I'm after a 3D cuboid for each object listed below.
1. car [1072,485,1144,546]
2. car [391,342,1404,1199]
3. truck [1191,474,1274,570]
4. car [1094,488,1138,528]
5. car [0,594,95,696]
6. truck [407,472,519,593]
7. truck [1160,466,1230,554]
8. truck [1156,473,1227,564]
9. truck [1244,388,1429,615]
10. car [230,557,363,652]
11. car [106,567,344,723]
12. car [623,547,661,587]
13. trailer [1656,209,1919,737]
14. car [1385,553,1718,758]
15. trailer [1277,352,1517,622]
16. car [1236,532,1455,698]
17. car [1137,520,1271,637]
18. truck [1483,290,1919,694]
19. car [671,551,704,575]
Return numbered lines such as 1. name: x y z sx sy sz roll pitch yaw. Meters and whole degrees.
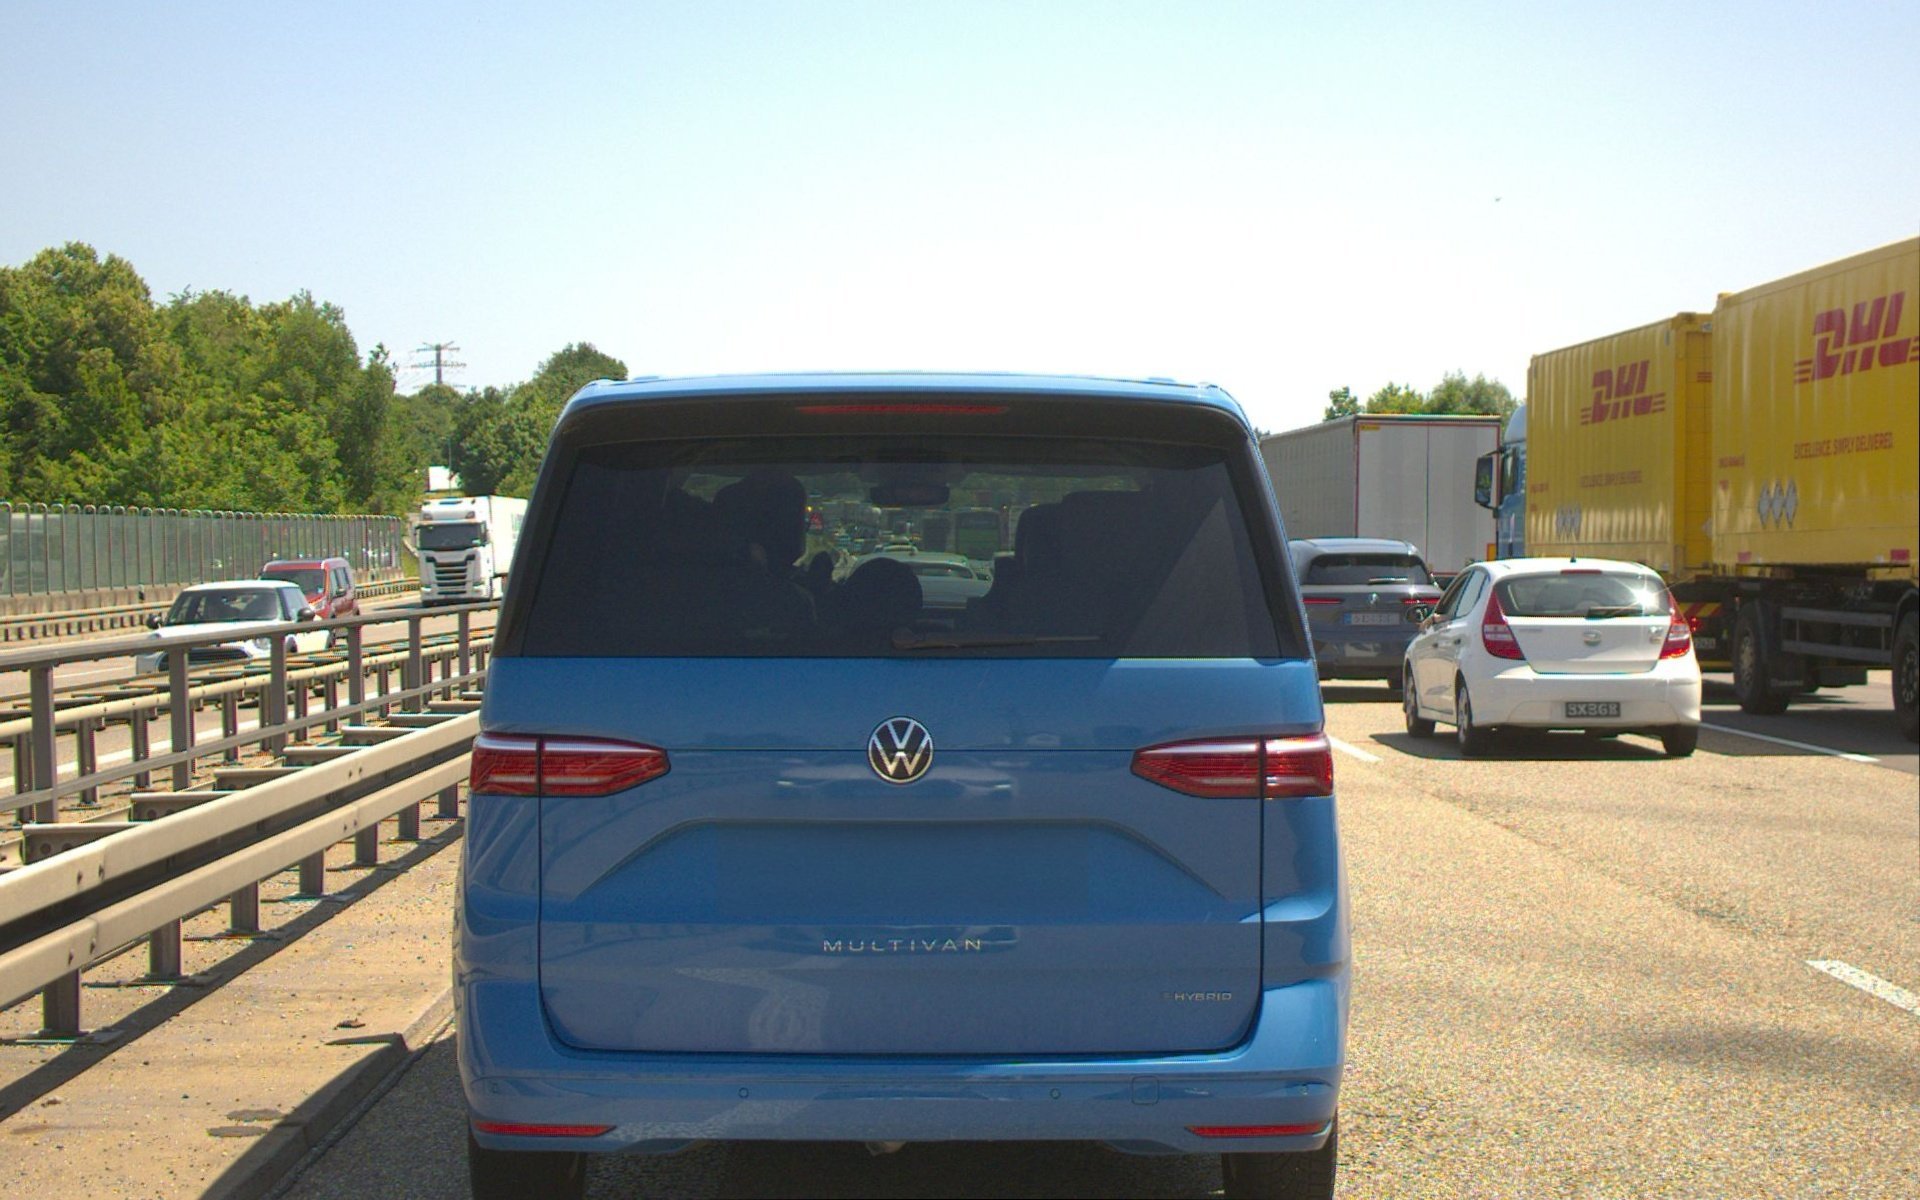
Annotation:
1. car: 4.403 -2.515 102.858 1.919 1.700 4.000 1 0 -1
2. car: -0.141 0.440 8.637 1.930 1.867 4.000 1 0 -1
3. truck: 7.217 -2.034 91.333 1.798 2.441 4.504 1 0 0
4. car: 7.081 -4.175 156.440 1.797 1.745 3.943 1 0 0
5. car: -14.622 0.684 52.241 1.871 1.437 4.386 -2 1 -1
6. truck: -18.503 -2.471 128.362 2.929 4.279 6.858 -3 0 0
7. truck: 7.204 -2.725 105.493 1.797 2.587 4.305 1 0 0
8. truck: 6.707 -2.343 99.976 1.742 2.540 4.210 1 0 0
9. truck: 8.016 -2.027 74.100 3.026 4.595 7.921 1 0 0
10. car: -13.369 0.086 69.543 1.839 1.816 4.748 -1 0 -1
11. car: -8.348 0.475 39.363 1.871 1.524 3.609 -6 1 -1
12. car: -21.222 -2.196 229.310 1.993 2.573 6.651 -2 0 -2
13. trailer: 8.599 -0.988 30.558 2.682 4.074 8.981 1 0 -2
14. car: 4.534 0.393 26.905 1.815 1.465 3.932 1 0 -1
15. trailer: 8.036 -1.972 64.671 3.026 4.595 10.925 1 0 0
16. car: 4.093 0.142 37.050 1.815 1.673 3.932 1 0 -1
17. car: 4.165 -0.370 59.267 1.962 1.929 3.932 1 0 -1
18. truck: 8.354 -1.130 40.030 2.699 4.074 9.940 1 0 -2
19. car: -18.037 -2.444 227.406 1.772 1.486 4.605 -1 1 0
